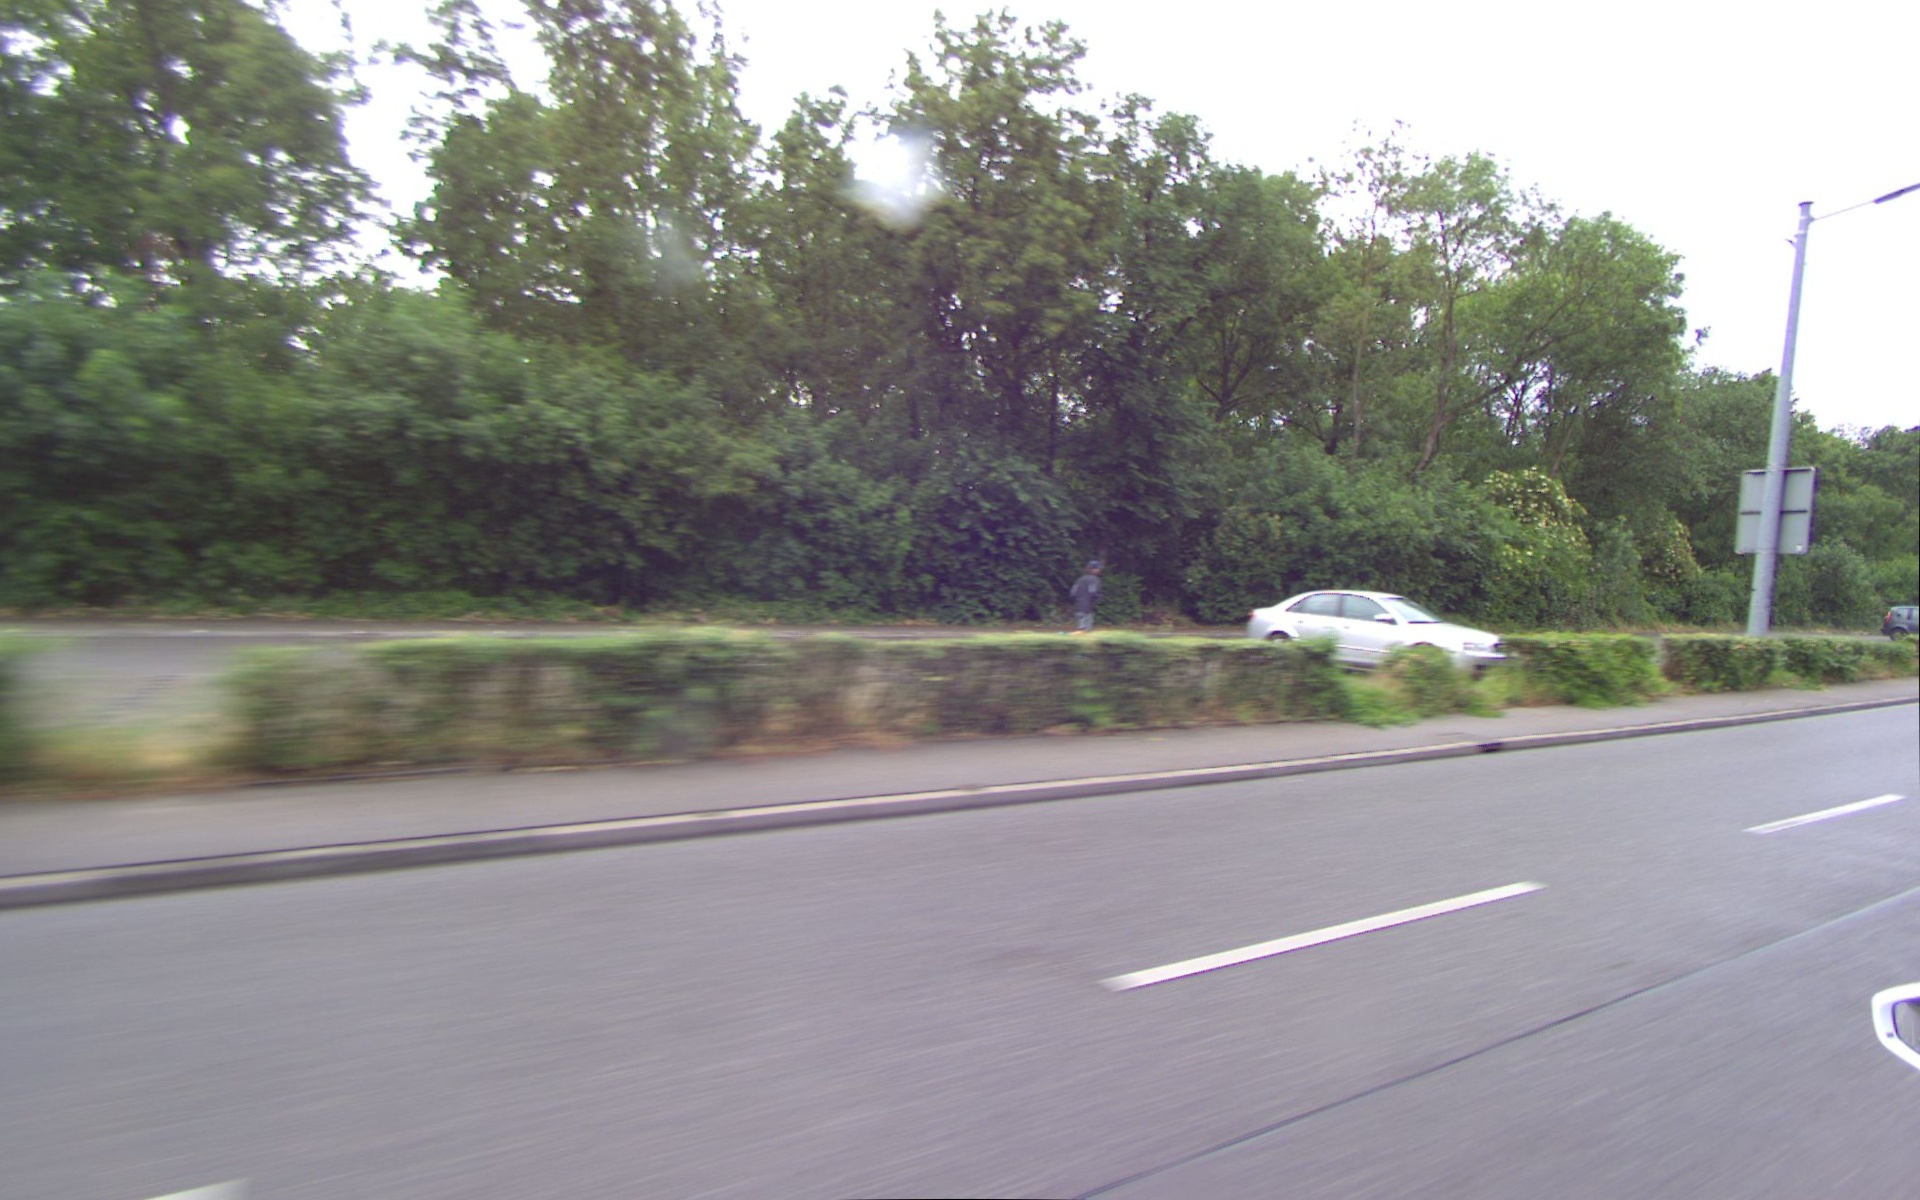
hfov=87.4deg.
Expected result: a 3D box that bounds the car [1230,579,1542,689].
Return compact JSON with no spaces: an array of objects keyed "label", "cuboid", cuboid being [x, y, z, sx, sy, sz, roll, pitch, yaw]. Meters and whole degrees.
[{"label":"car","cuboid":[7.172,0.489,17.335,1.982,1.526,4.540,1,2,-38]}]

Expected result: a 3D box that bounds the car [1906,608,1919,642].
[{"label":"car","cuboid":[48.236,1.286,48.463,1.838,1.613,3.612,1,2,-42]}]

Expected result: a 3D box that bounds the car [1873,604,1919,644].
[{"label":"car","cuboid":[43.924,1.145,44.876,1.980,1.731,4.262,1,2,-35]}]

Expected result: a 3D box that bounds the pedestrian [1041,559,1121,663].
[{"label":"pedestrian","cuboid":[2.187,0.196,18.200,1.120,1.822,0.814,1,1,-25]}]
